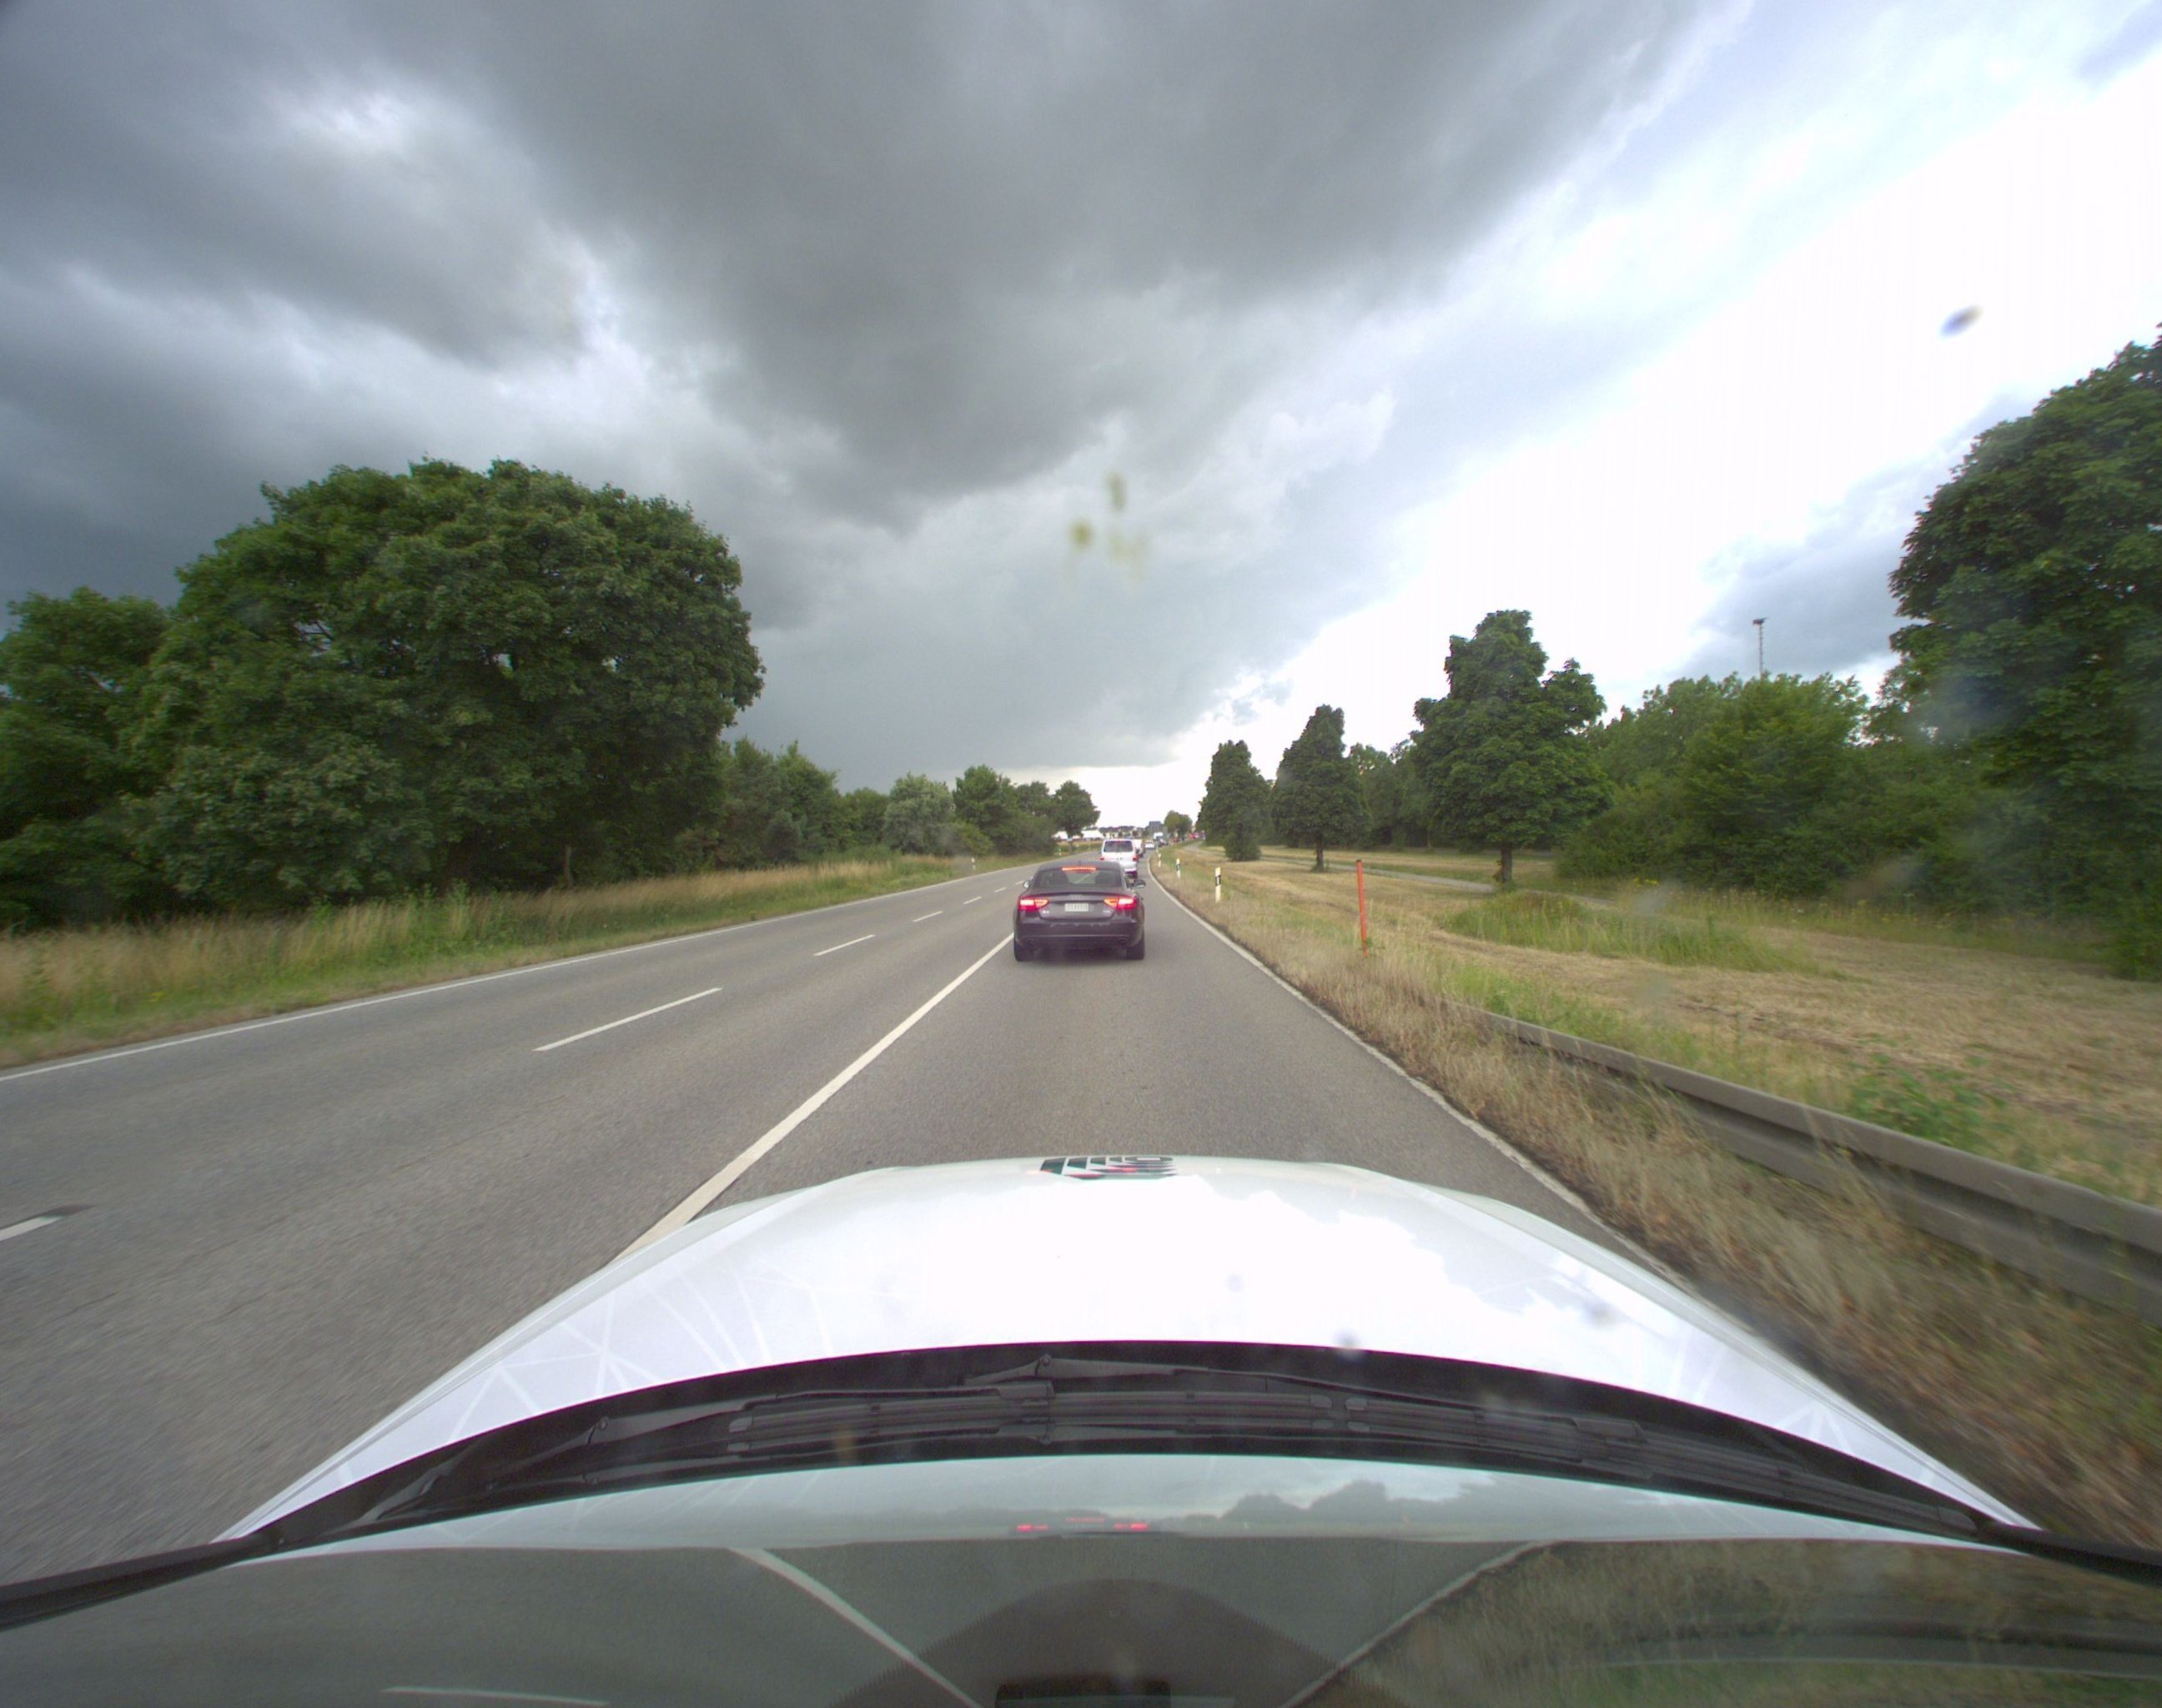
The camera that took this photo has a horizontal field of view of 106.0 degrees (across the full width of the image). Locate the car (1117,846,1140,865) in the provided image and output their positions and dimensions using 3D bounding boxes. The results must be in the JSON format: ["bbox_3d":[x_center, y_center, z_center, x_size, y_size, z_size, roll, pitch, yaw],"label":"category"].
[{"bbox_3d":[4.058,0.113,69.366,1.787,1.464,3.253,-1,1,5],"label":"car"}]

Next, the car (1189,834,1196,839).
[{"bbox_3d":[33.392,-5.130,244.581,1.814,1.492,4.003,-1,1,2],"label":"car"}]

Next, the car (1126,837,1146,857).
[{"bbox_3d":[5.909,-0.738,87.440,1.984,2.088,4.005,-2,0,4],"label":"car"}]

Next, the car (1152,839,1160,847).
[{"bbox_3d":[13.625,-1.964,147.464,1.251,1.353,3.473,-2,1,7],"label":"car"}]

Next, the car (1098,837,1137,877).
[{"bbox_3d":[1.798,0.117,41.043,1.832,1.882,4.001,-1,1,1],"label":"car"}]

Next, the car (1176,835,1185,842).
[{"bbox_3d":[23.977,-3.652,196.772,1.814,1.596,4.003,-1,1,2],"label":"car"}]

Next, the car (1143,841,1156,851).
[{"bbox_3d":[10.862,-1.338,128.995,1.726,1.514,3.754,-2,1,7],"label":"car"}]

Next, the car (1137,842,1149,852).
[{"bbox_3d":[8.106,-0.973,107.258,1.528,1.277,3.751,-2,1,4],"label":"car"}]

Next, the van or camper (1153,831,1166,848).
[{"bbox_3d":[16.004,-2.943,166.254,2.329,3.481,5.726,-1,0,5],"label":"van or camper"}]

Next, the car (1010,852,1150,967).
[{"bbox_3d":[0.035,0.706,12.424,1.776,1.376,4.001,-1,1,1],"label":"car"}]

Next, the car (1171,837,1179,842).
[{"bbox_3d":[24.496,-3.727,211.729,1.712,1.451,4.003,-1,1,2],"label":"car"}]
